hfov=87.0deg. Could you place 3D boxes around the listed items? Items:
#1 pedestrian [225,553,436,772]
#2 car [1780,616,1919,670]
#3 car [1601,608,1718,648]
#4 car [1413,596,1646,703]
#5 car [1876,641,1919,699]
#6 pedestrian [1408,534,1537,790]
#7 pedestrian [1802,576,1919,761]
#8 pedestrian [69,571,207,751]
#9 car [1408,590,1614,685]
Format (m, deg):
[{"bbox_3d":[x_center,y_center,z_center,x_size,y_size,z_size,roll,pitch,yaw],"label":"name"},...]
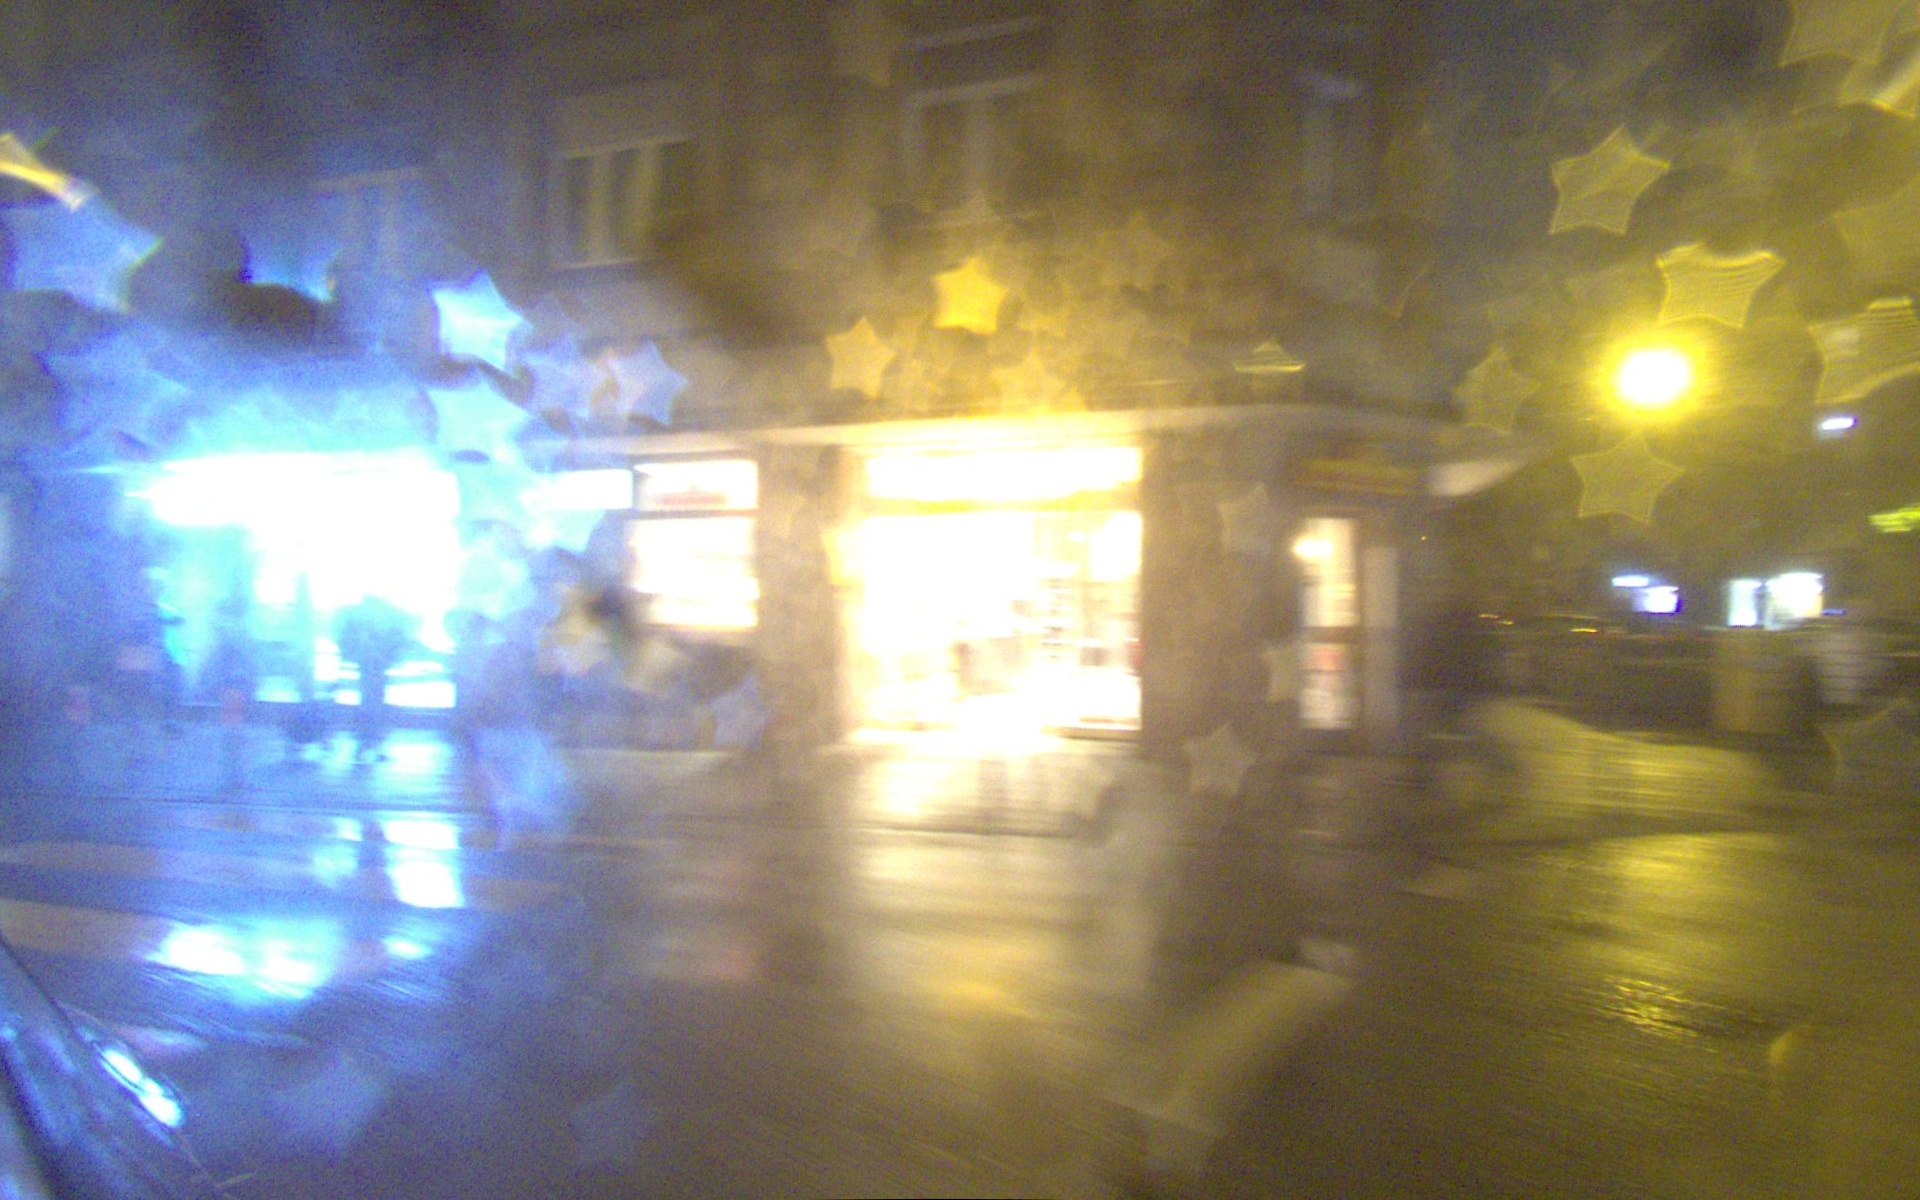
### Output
[{"bbox_3d":[-5.787,0.546,9.351,1.402,1.877,0.954,0,-1,15],"label":"pedestrian"},{"bbox_3d":[24.684,1.148,27.408,3.434,1.414,1.581,0,-2,19],"label":"car"},{"bbox_3d":[29.065,1.169,42.153,3.643,1.640,1.581,0,-2,19],"label":"car"},{"bbox_3d":[11.842,0.963,21.386,3.970,2.029,1.987,0,1,20],"label":"car"},{"bbox_3d":[23.275,1.566,22.685,3.690,1.285,1.582,0,-2,18],"label":"car"},{"bbox_3d":[4.078,0.474,8.066,0.618,1.923,0.656,0,-2,-30],"label":"pedestrian"},{"bbox_3d":[9.701,0.716,10.778,0.942,1.872,0.791,-1,-3,29],"label":"pedestrian"},{"bbox_3d":[-8.806,0.618,10.855,1.069,1.846,0.673,0,0,18],"label":"pedestrian"},{"bbox_3d":[12.789,0.807,23.811,3.970,2.029,1.987,0,1,20],"label":"car"}]
